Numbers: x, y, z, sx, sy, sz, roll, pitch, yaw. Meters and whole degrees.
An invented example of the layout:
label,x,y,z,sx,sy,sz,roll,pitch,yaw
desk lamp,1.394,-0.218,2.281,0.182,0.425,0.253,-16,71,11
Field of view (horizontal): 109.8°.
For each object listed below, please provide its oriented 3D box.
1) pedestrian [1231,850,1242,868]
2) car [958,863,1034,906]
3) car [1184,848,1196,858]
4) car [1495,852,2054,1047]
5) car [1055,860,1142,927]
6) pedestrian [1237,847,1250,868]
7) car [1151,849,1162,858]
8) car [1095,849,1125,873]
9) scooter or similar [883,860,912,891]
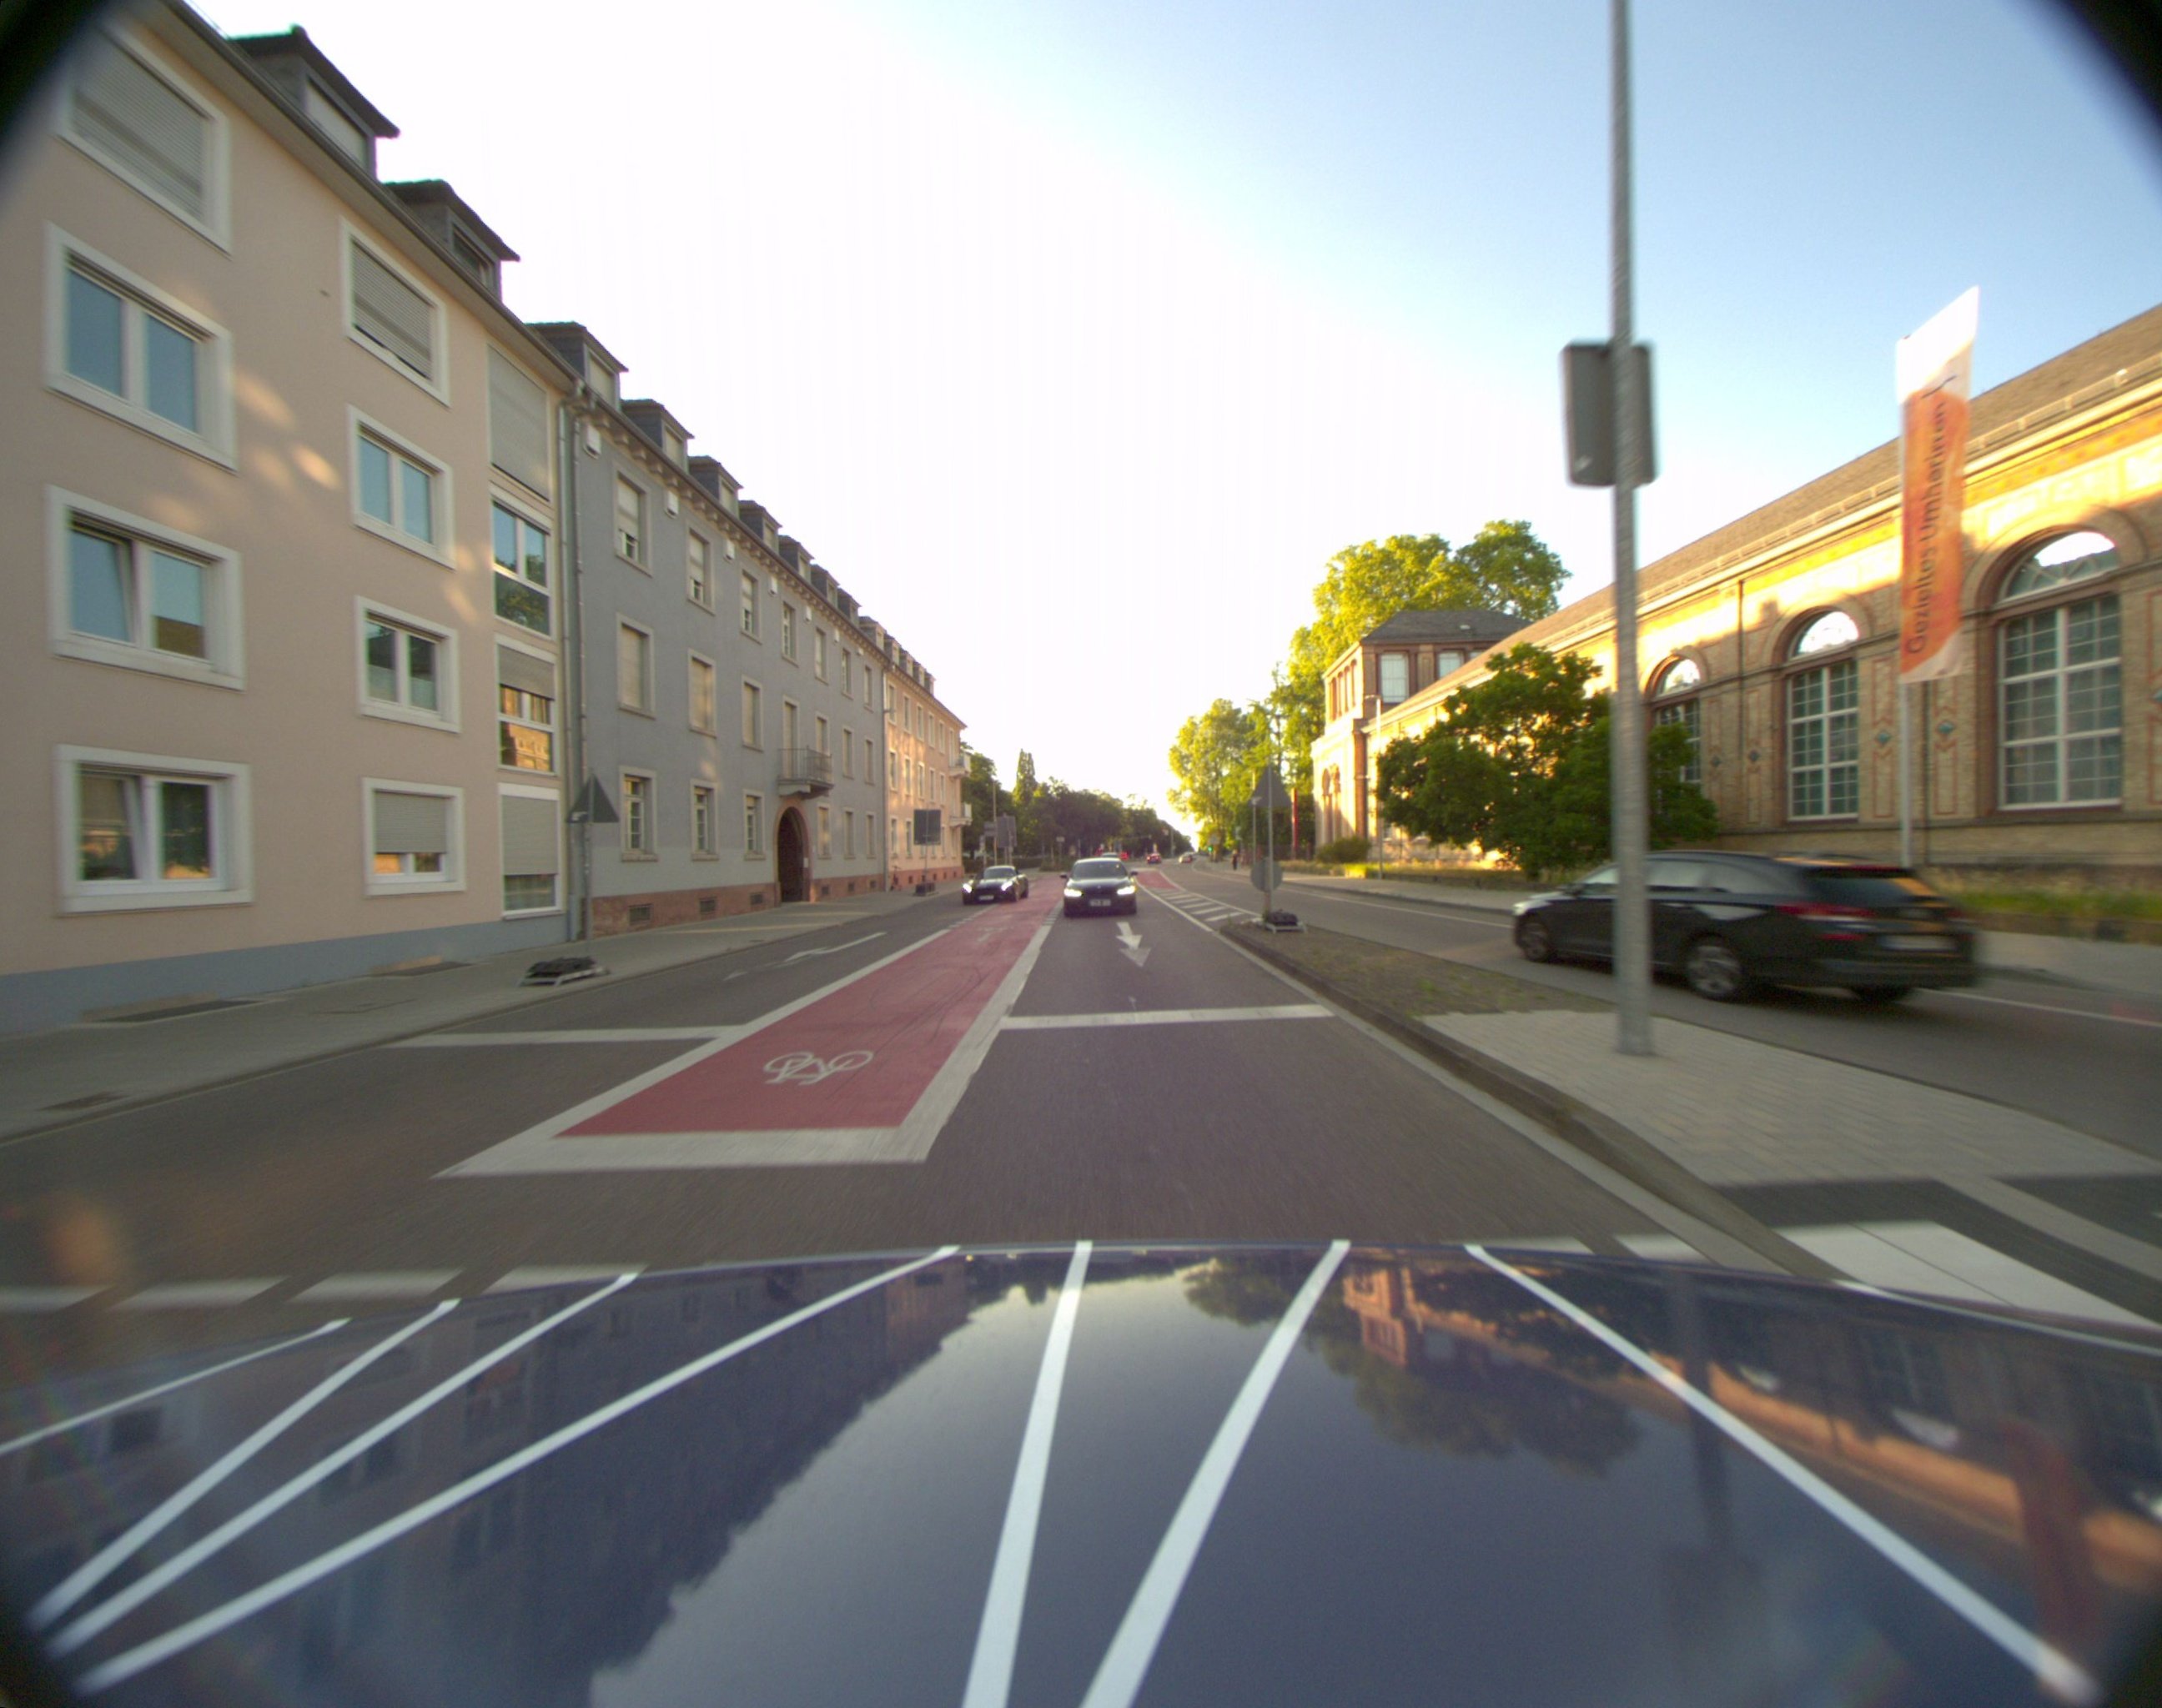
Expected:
label,x,y,z,sx,sy,sz,roll,pitch,yaw
pedestrian,12.973,0.422,63.405,0.675,1.504,0.836,-4,-1,5
car,-3.064,1.094,28.316,2.183,1.293,4.357,-3,0,1
car,18.848,-0.196,131.318,1.919,1.674,4.002,-1,0,8
car,6.776,0.760,8.288,1.828,1.499,4.424,0,1,-5
car,0.534,0.915,19.763,1.963,1.379,4.782,-2,1,3
pedestrian,13.521,0.273,63.177,0.807,1.728,0.851,-1,1,26
car,11.945,-0.091,120.017,1.775,1.455,4.001,0,0,6
car,2.209,0.514,58.044,1.839,1.674,4.221,-3,1,-3
scooter or similar,-8.839,1.022,36.637,0.726,1.450,1.673,1,1,11
